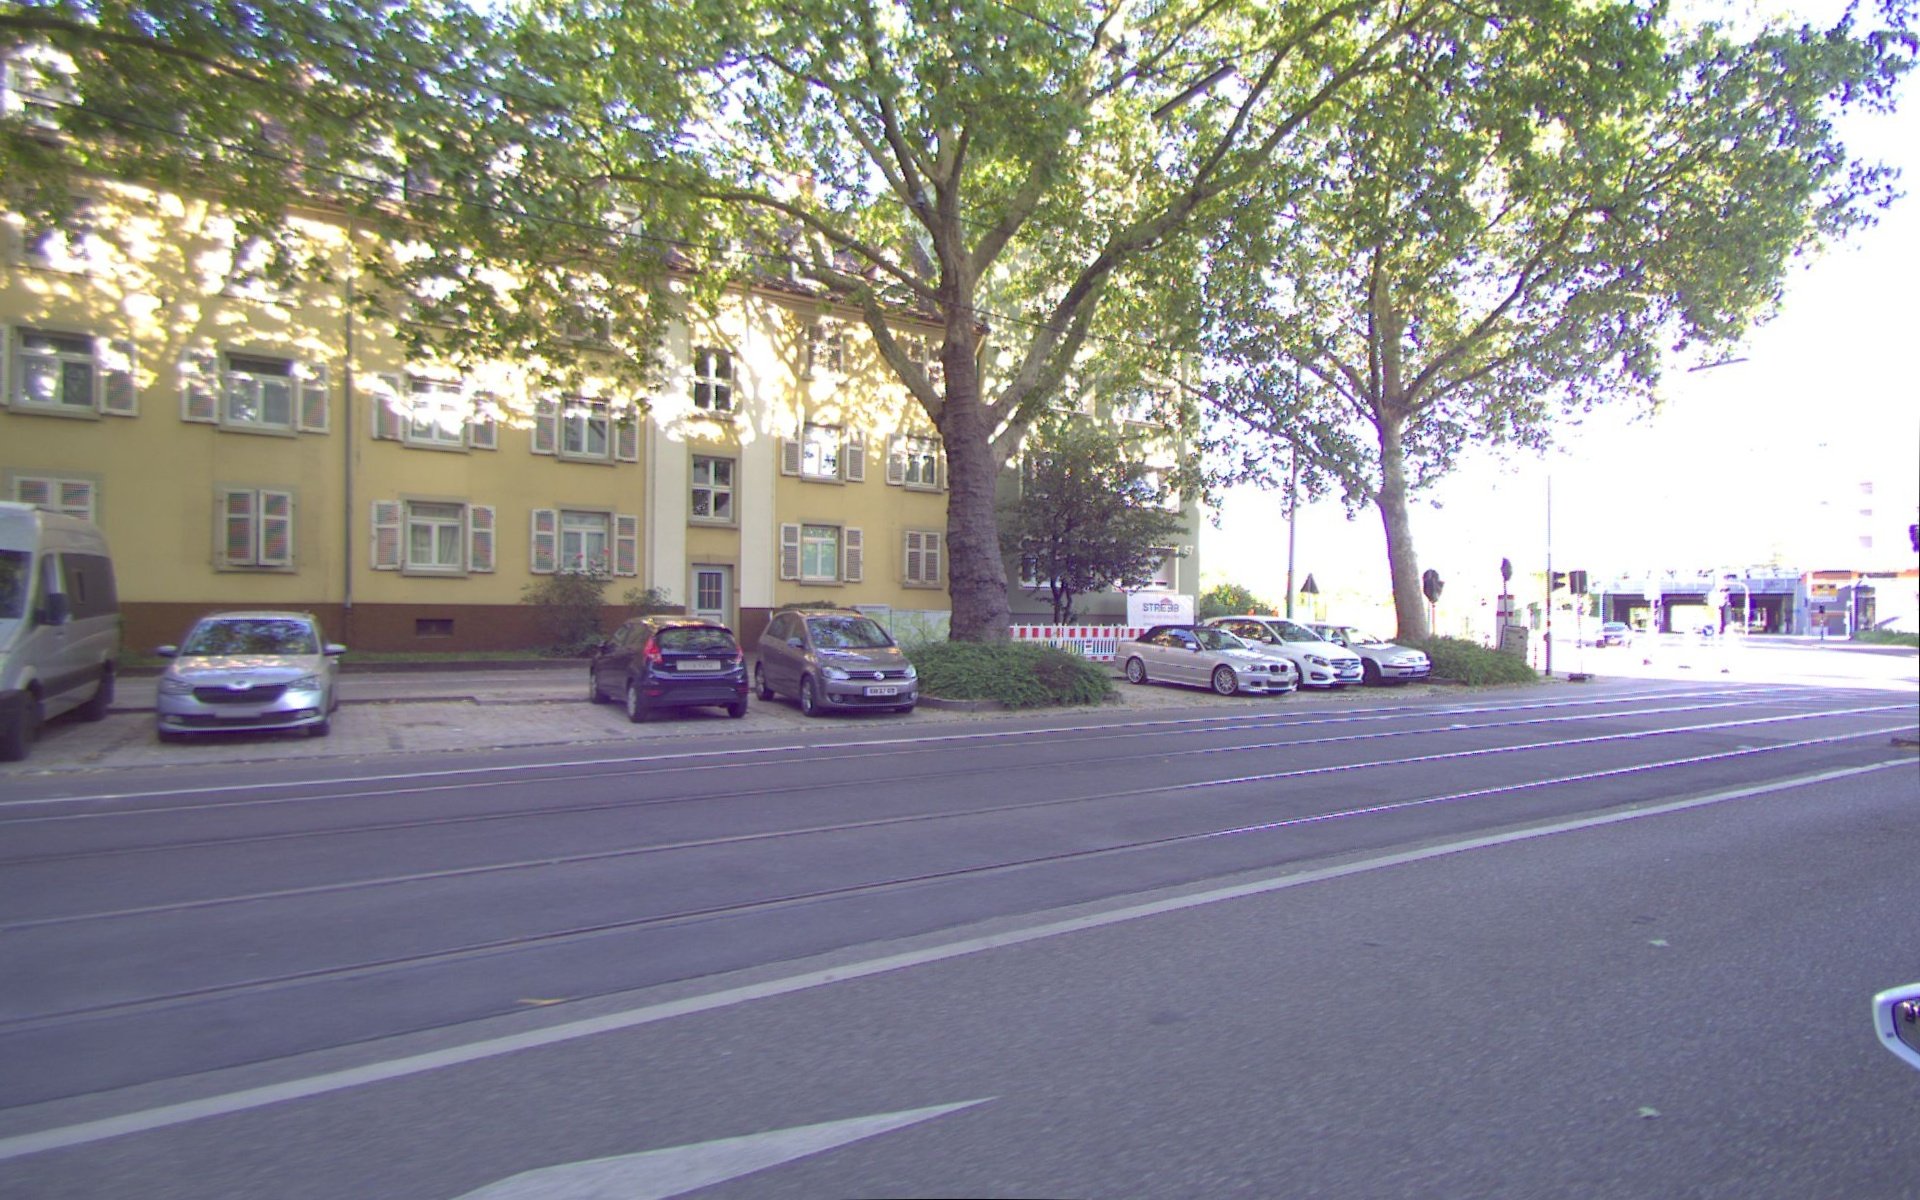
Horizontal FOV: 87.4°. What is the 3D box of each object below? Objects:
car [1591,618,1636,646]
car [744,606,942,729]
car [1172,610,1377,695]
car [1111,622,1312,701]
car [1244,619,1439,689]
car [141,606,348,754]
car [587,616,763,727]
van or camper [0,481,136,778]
[{"bbox_3d":[39.622,1.917,60.865,1.803,1.539,3.876,2,0,40],"label":"car"},{"bbox_3d":[-2.069,0.980,16.570,1.793,1.627,4.169,1,1,-29],"label":"car"},{"bbox_3d":[7.224,1.138,23.574,1.777,1.640,4.587,1,1,-30],"label":"car"},{"bbox_3d":[5.263,1.234,21.540,1.708,1.386,4.220,1,0,-31],"label":"car"},{"bbox_3d":[9.309,1.259,24.908,1.656,1.448,4.490,1,0,-30],"label":"car"},{"bbox_3d":[-8.990,0.894,12.939,1.710,1.489,4.124,2,0,-30],"label":"car"},{"bbox_3d":[-4.471,0.995,15.429,1.723,1.448,3.545,1,0,-31],"label":"car"},{"bbox_3d":[-11.195,0.234,11.217,2.204,2.713,6.078,1,0,-31],"label":"van or camper"}]
